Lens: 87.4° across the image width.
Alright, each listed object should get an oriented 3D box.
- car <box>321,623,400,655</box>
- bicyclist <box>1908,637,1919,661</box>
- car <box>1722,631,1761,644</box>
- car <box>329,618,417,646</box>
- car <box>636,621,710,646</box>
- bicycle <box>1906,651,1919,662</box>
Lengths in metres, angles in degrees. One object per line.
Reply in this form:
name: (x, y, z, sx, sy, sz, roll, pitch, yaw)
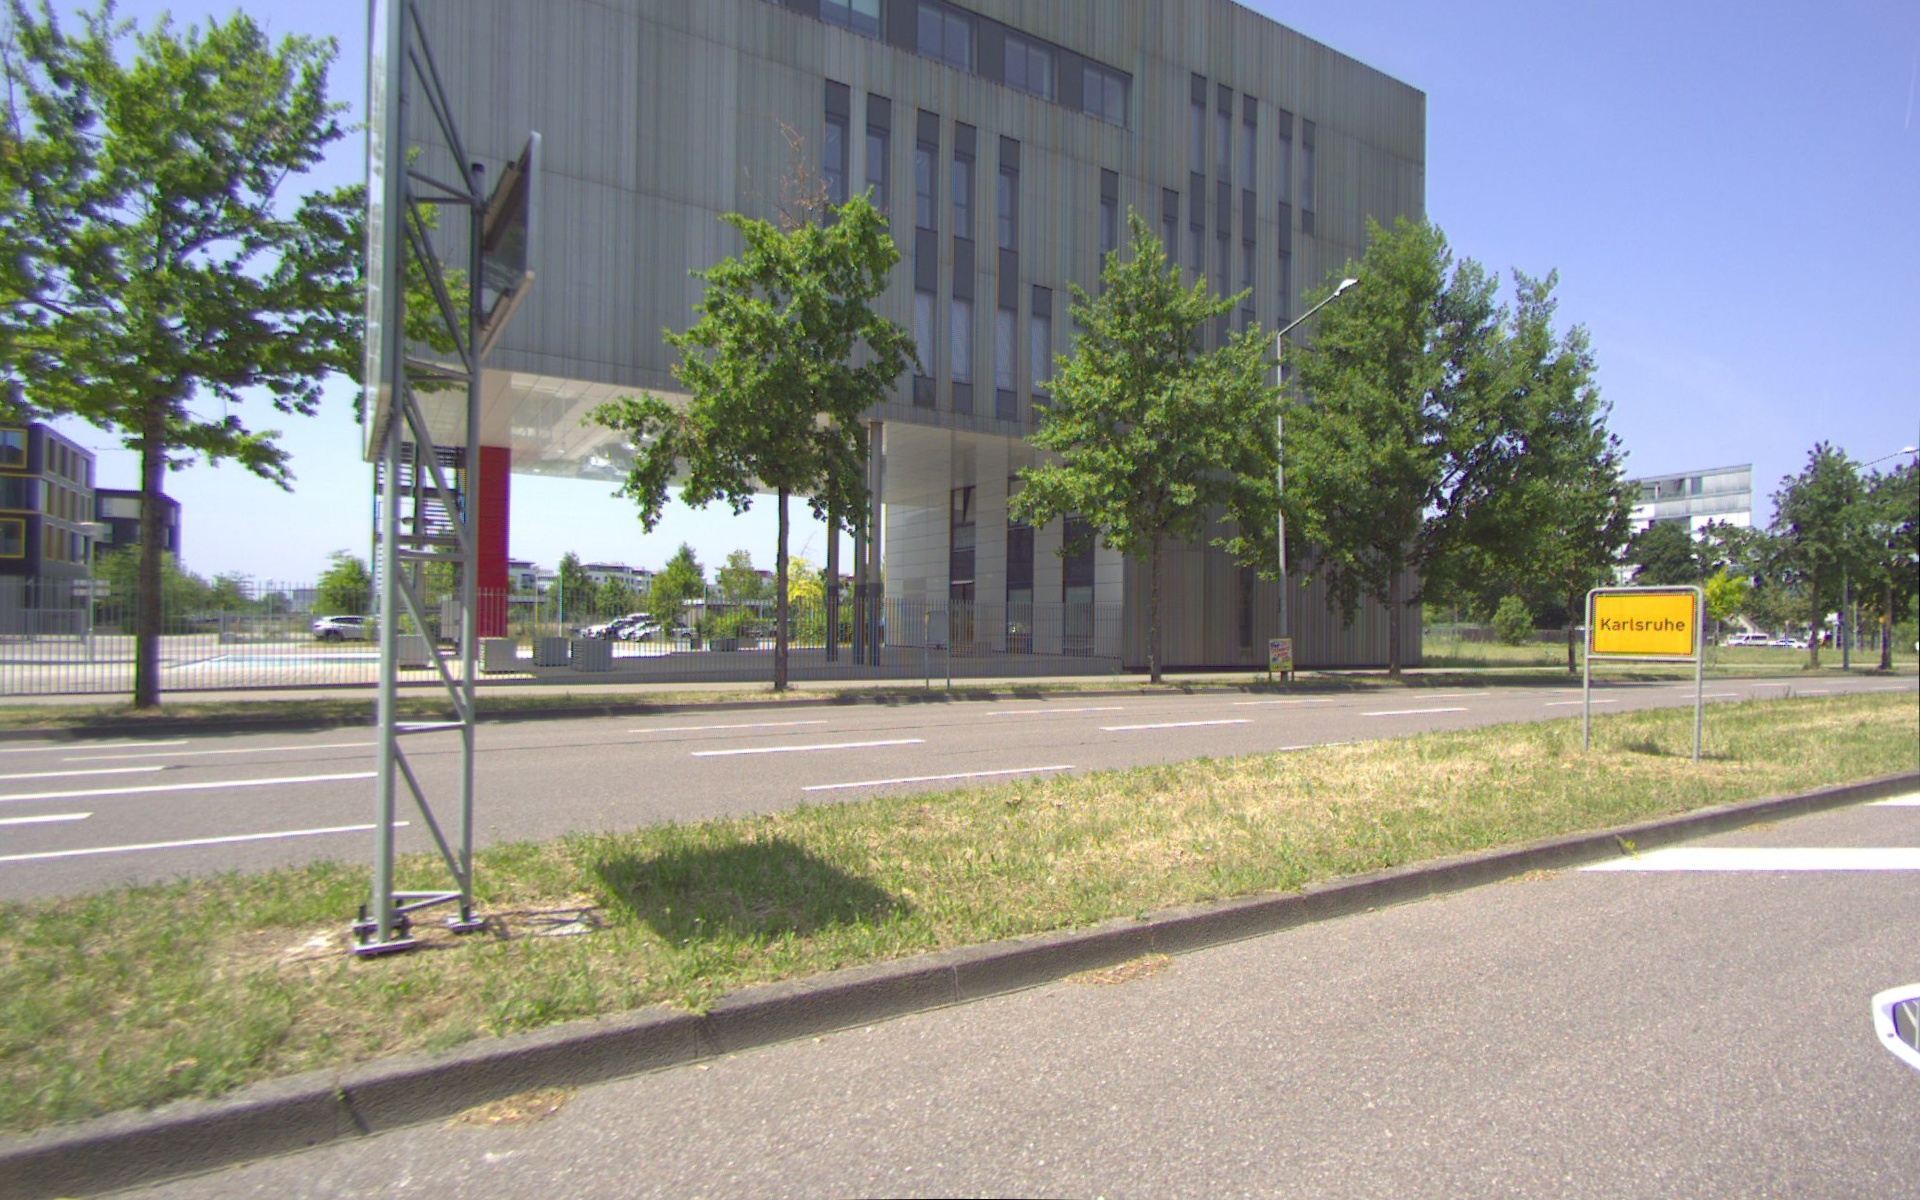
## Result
car: (-33.466, 2.167, 56.191, 3.730, 1.719, 1.649, 1, -1, -30)
bicyclist: (62.757, 3.220, 65.903, 0.747, 1.509, 0.620, 1, -1, -28)
car: (115.084, 5.532, 147.918, 4.205, 1.903, 2.000, 1, -1, 0)
car: (-31.043, 1.699, 53.264, 3.953, 1.405, 1.984, 1, -1, -30)
car: (-19.160, 2.248, 67.082, 4.464, 1.603, 2.016, 1, -1, -27)
bicycle: (62.825, 3.703, 65.928, 1.827, 0.724, 0.479, 2, -1, -28)
